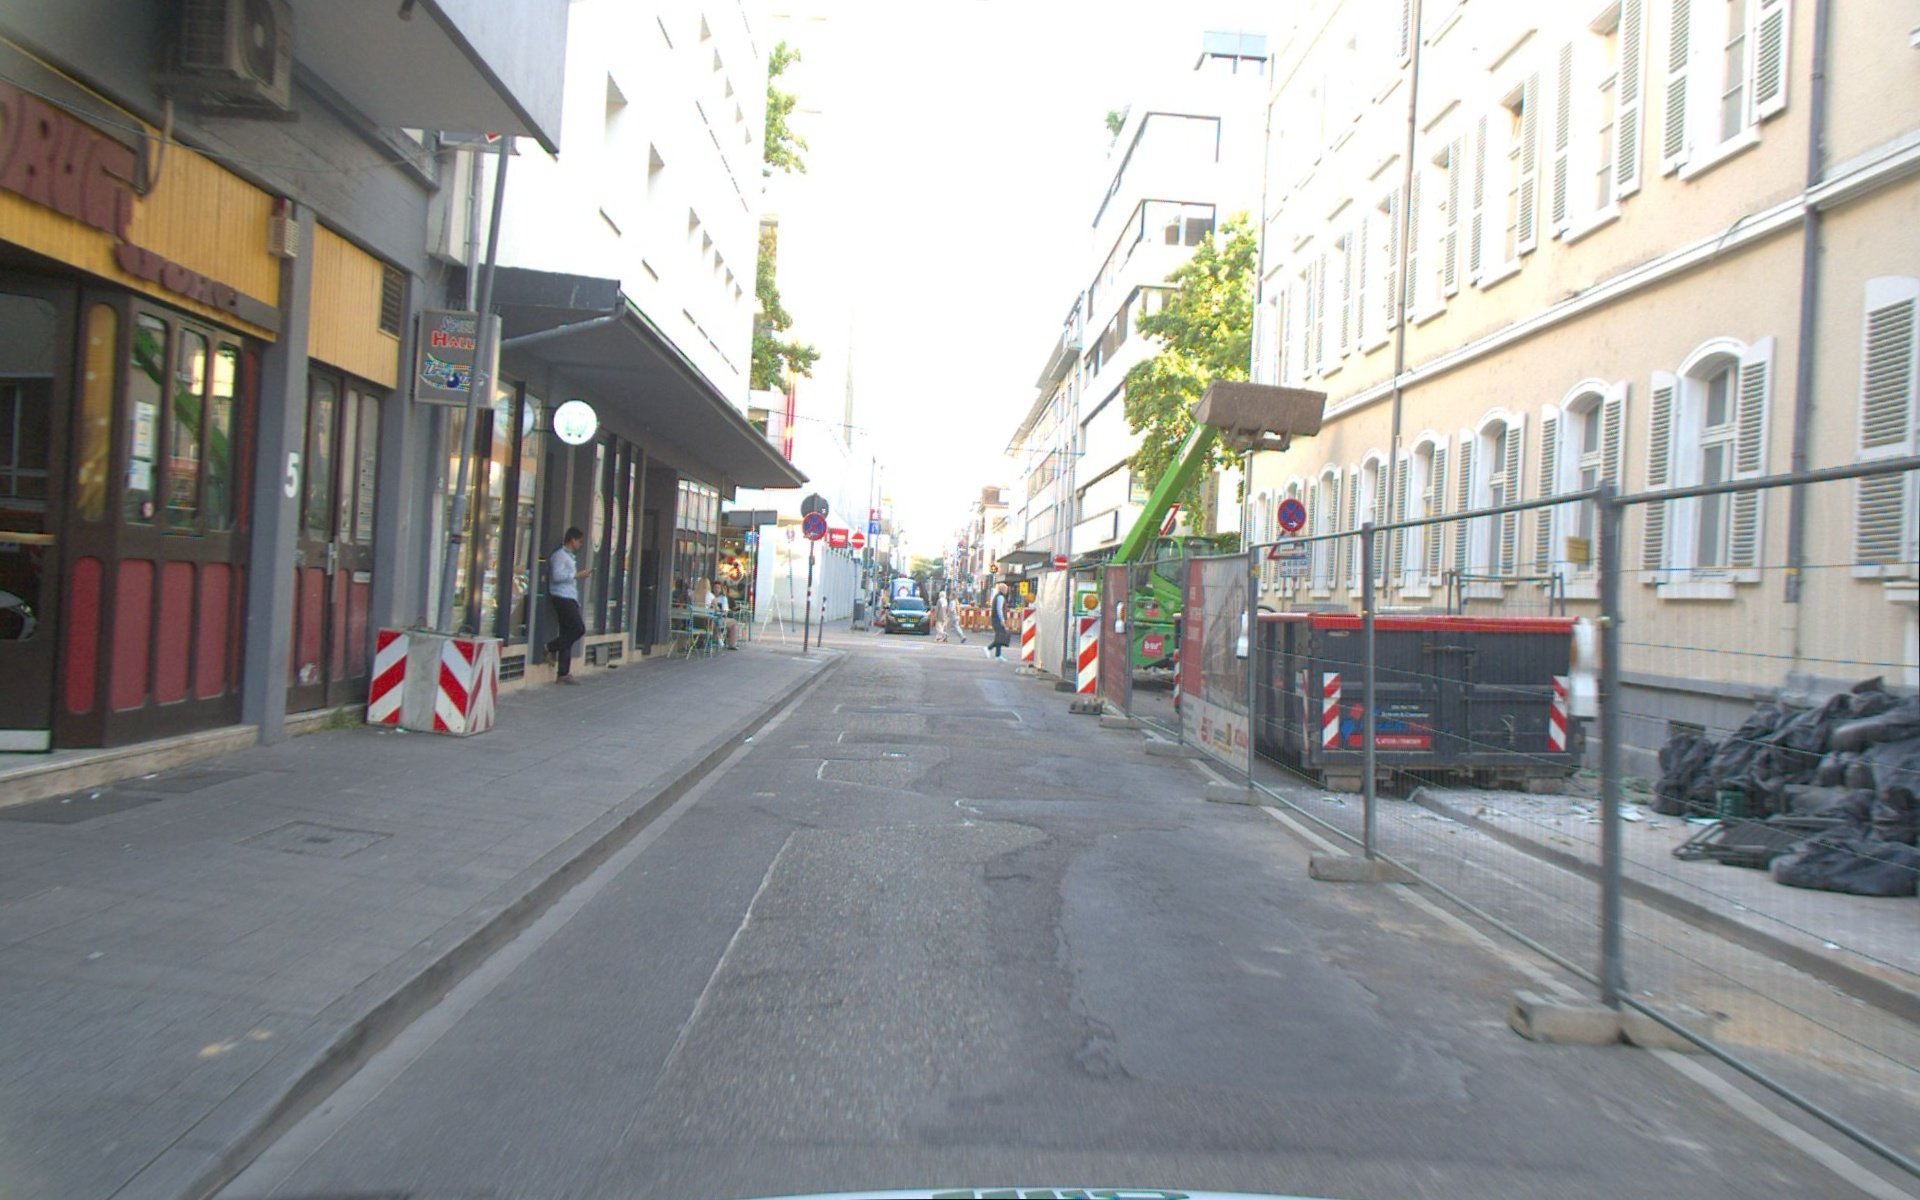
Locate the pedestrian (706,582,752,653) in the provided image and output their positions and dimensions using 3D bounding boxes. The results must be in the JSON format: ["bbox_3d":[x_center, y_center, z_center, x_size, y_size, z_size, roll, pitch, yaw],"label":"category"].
[{"bbox_3d":[-4.417,0.330,31.709,0.688,1.297,0.713,5,0,-1],"label":"pedestrian"}]

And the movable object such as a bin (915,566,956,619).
[{"bbox_3d":[-1.381,-0.402,91.264,2.113,2.710,4.571,3,0,-2],"label":"movable object such as a bin"}]

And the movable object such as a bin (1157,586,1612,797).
[{"bbox_3d":[4.148,0.784,18.133,2.681,1.667,7.549,4,0,-2],"label":"movable object such as a bin"}]

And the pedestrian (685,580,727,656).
[{"bbox_3d":[-4.552,0.320,29.691,0.561,1.297,0.713,5,0,-1],"label":"pedestrian"}]

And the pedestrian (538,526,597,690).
[{"bbox_3d":[-4.576,0.093,19.309,0.520,1.866,0.562,3,0,-8],"label":"pedestrian"}]

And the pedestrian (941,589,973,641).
[{"bbox_3d":[-0.097,0.494,54.692,0.606,1.656,0.859,2,0,-43],"label":"pedestrian"}]

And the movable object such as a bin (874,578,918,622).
[{"bbox_3d":[-3.115,-0.011,81.039,1.953,2.049,3.999,2,0,-1],"label":"movable object such as a bin"}]

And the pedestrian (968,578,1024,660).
[{"bbox_3d":[0.833,0.447,38.663,1.057,1.867,0.693,2,0,-22],"label":"pedestrian"}]

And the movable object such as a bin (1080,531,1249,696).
[{"bbox_3d":[3.864,0.236,32.157,2.552,2.888,4.449,2,0,-1],"label":"movable object such as a bin"}]

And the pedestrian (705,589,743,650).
[{"bbox_3d":[-4.646,0.380,32.604,0.561,1.133,0.713,5,0,-1],"label":"pedestrian"}]

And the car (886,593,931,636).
[{"bbox_3d":[-2.080,0.553,65.842,1.597,1.577,3.139,2,0,-5],"label":"car"}]

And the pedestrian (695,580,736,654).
[{"bbox_3d":[-4.528,0.312,30.680,0.561,1.297,0.713,5,0,-1],"label":"pedestrian"}]

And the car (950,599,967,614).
[{"bbox_3d":[-0.157,0.824,205.007,1.953,1.807,3.999,2,0,-1],"label":"car"}]

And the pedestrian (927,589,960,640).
[{"bbox_3d":[-0.551,0.477,54.250,0.606,1.656,0.859,2,0,-43],"label":"pedestrian"}]
